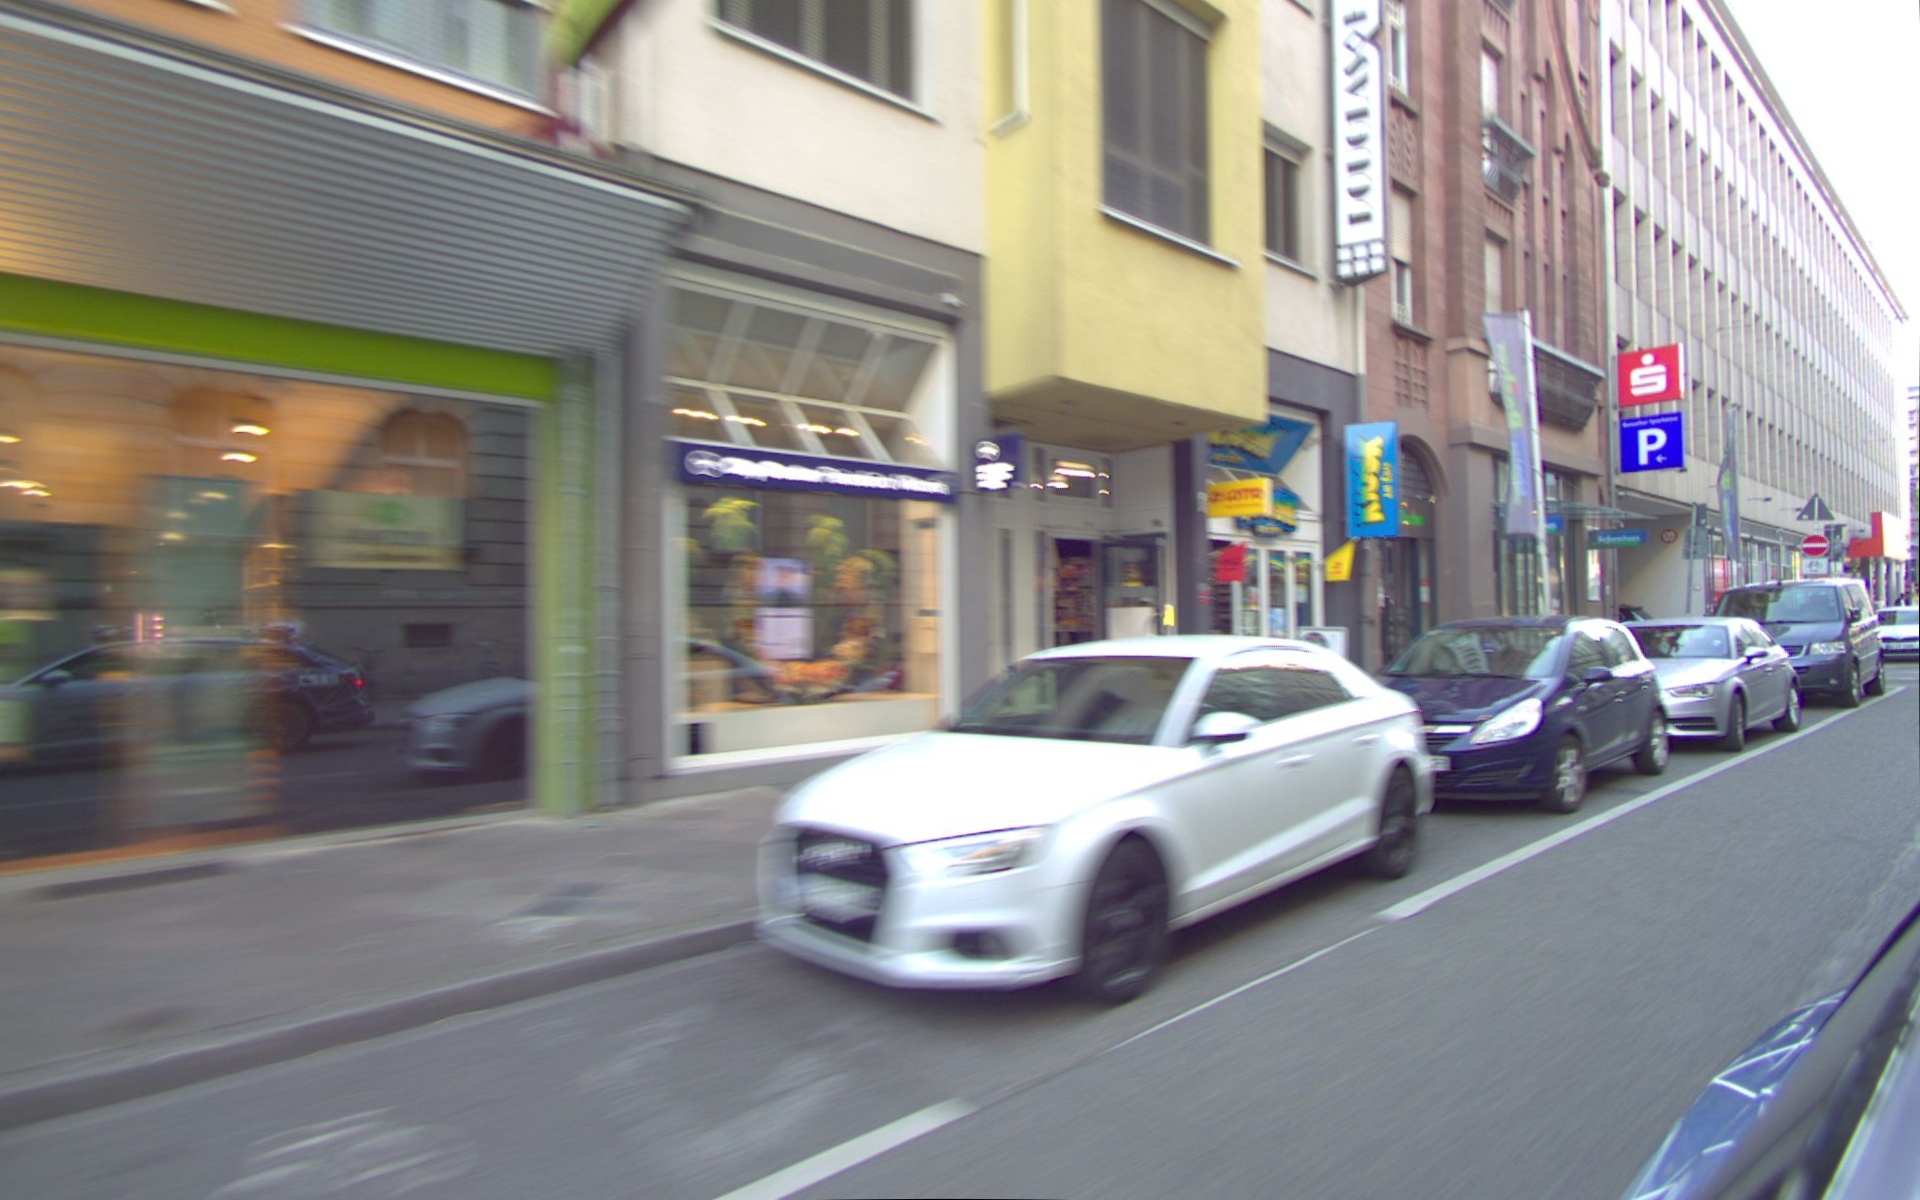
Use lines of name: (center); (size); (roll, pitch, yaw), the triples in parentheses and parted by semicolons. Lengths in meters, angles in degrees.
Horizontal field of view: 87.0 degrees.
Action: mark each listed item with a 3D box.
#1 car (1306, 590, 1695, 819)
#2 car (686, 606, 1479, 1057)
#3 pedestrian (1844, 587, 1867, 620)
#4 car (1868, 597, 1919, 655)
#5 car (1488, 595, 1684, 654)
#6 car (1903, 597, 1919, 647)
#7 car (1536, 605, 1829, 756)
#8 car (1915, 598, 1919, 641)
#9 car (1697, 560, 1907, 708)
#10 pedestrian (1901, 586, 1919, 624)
car: (4.837, 0.757, 8.793); (4.101, 1.536, 1.620); (0, -4, -42)
car: (1.019, 0.795, 5.440); (4.561, 1.430, 1.692); (1, -4, -44)
pedestrian: (47.964, 0.188, 54.200); (0.675, 1.784, 0.799); (1, -1, -40)
car: (26.329, 0.662, 27.707); (4.234, 1.466, 1.658); (-1, -2, -42)
car: (17.917, 0.717, 29.109); (1.884, 1.520, 4.407); (-1, -1, -42)
car: (30.771, 0.627, 31.543); (4.370, 1.466, 1.658); (-1, -2, -43)
car: (8.687, 0.844, 12.019); (4.417, 1.472, 1.689); (0, -4, -40)
car: (34.745, 0.628, 35.284); (3.801, 1.466, 1.659); (-1, -2, -40)
car: (13.924, 0.489, 16.616); (4.967, 2.085, 1.849); (-1, -2, -42)
pedestrian: (49.271, 0.249, 52.216); (0.784, 1.943, 0.688); (0, -1, -5)
